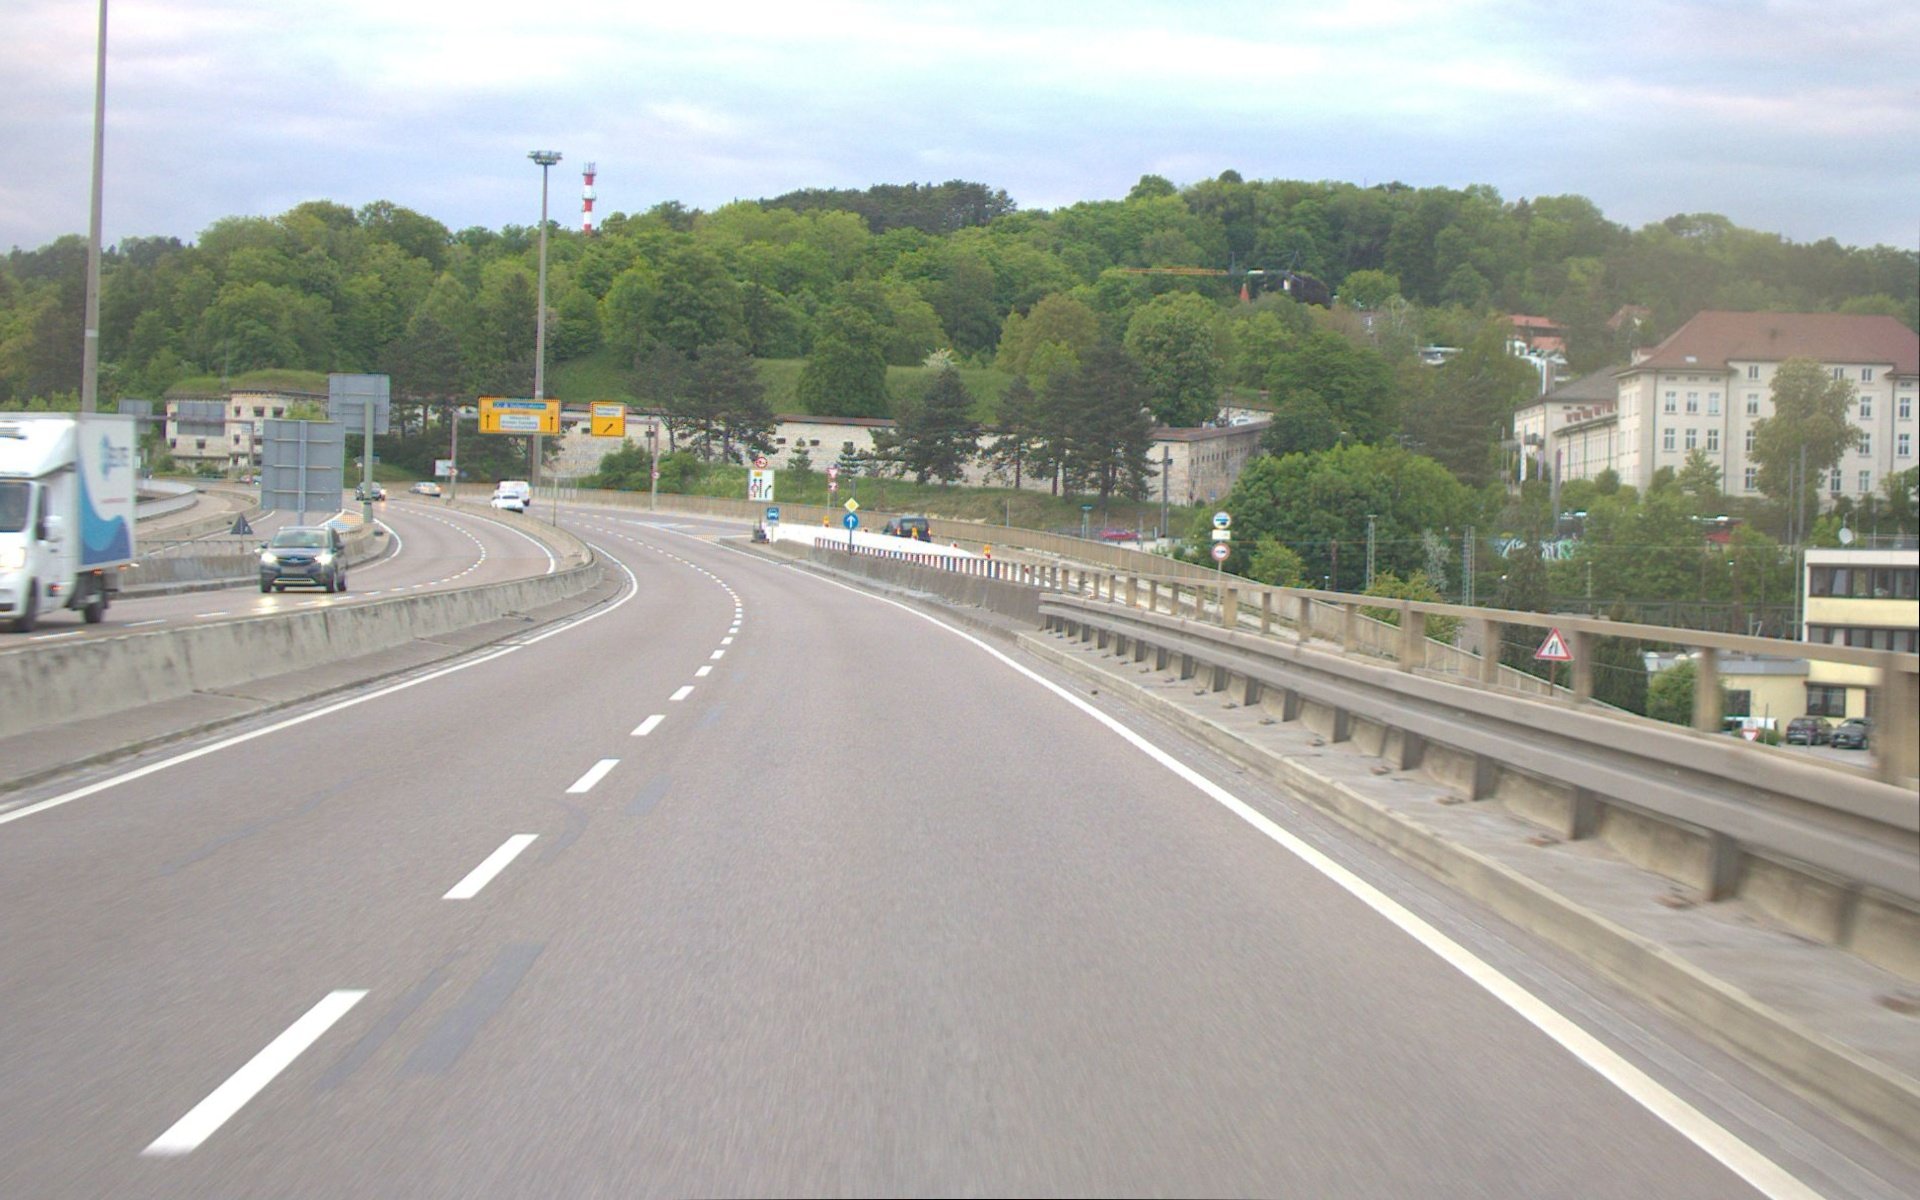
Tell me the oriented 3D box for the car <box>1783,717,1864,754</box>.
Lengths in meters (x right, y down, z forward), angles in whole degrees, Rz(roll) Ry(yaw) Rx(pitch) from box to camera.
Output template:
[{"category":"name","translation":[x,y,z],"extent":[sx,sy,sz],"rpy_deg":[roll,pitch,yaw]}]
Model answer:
[{"category":"car","translation":[44.706,7.018,178.037],"extent":[3.987,1.560,1.832],"rpy_deg":[5,3,-37]}]

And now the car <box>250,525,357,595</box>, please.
[{"category":"car","translation":[-15.557,-0.955,81.678],"extent":[1.976,1.600,4.442],"rpy_deg":[1,1,-4]}]

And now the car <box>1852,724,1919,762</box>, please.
[{"category":"car","translation":[46.462,7.139,171.001],"extent":[3.987,1.560,1.832],"rpy_deg":[5,3,-37]}]

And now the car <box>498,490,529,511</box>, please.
[{"category":"car","translation":[-30.626,-6.833,235.780],"extent":[1.630,1.383,4.002],"rpy_deg":[0,3,-14]}]

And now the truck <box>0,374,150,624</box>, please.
[{"category":"truck","translation":[-13.559,-1.392,48.801],"extent":[2.534,3.285,7.447],"rpy_deg":[1,1,-2]}]

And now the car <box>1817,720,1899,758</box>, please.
[{"category":"car","translation":[45.682,7.075,174.884],"extent":[3.987,1.560,1.832],"rpy_deg":[5,3,-37]}]

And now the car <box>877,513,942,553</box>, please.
[{"category":"car","translation":[-2.425,-3.212,164.475],"extent":[2.304,1.757,4.264],"rpy_deg":[2,2,-12]}]
